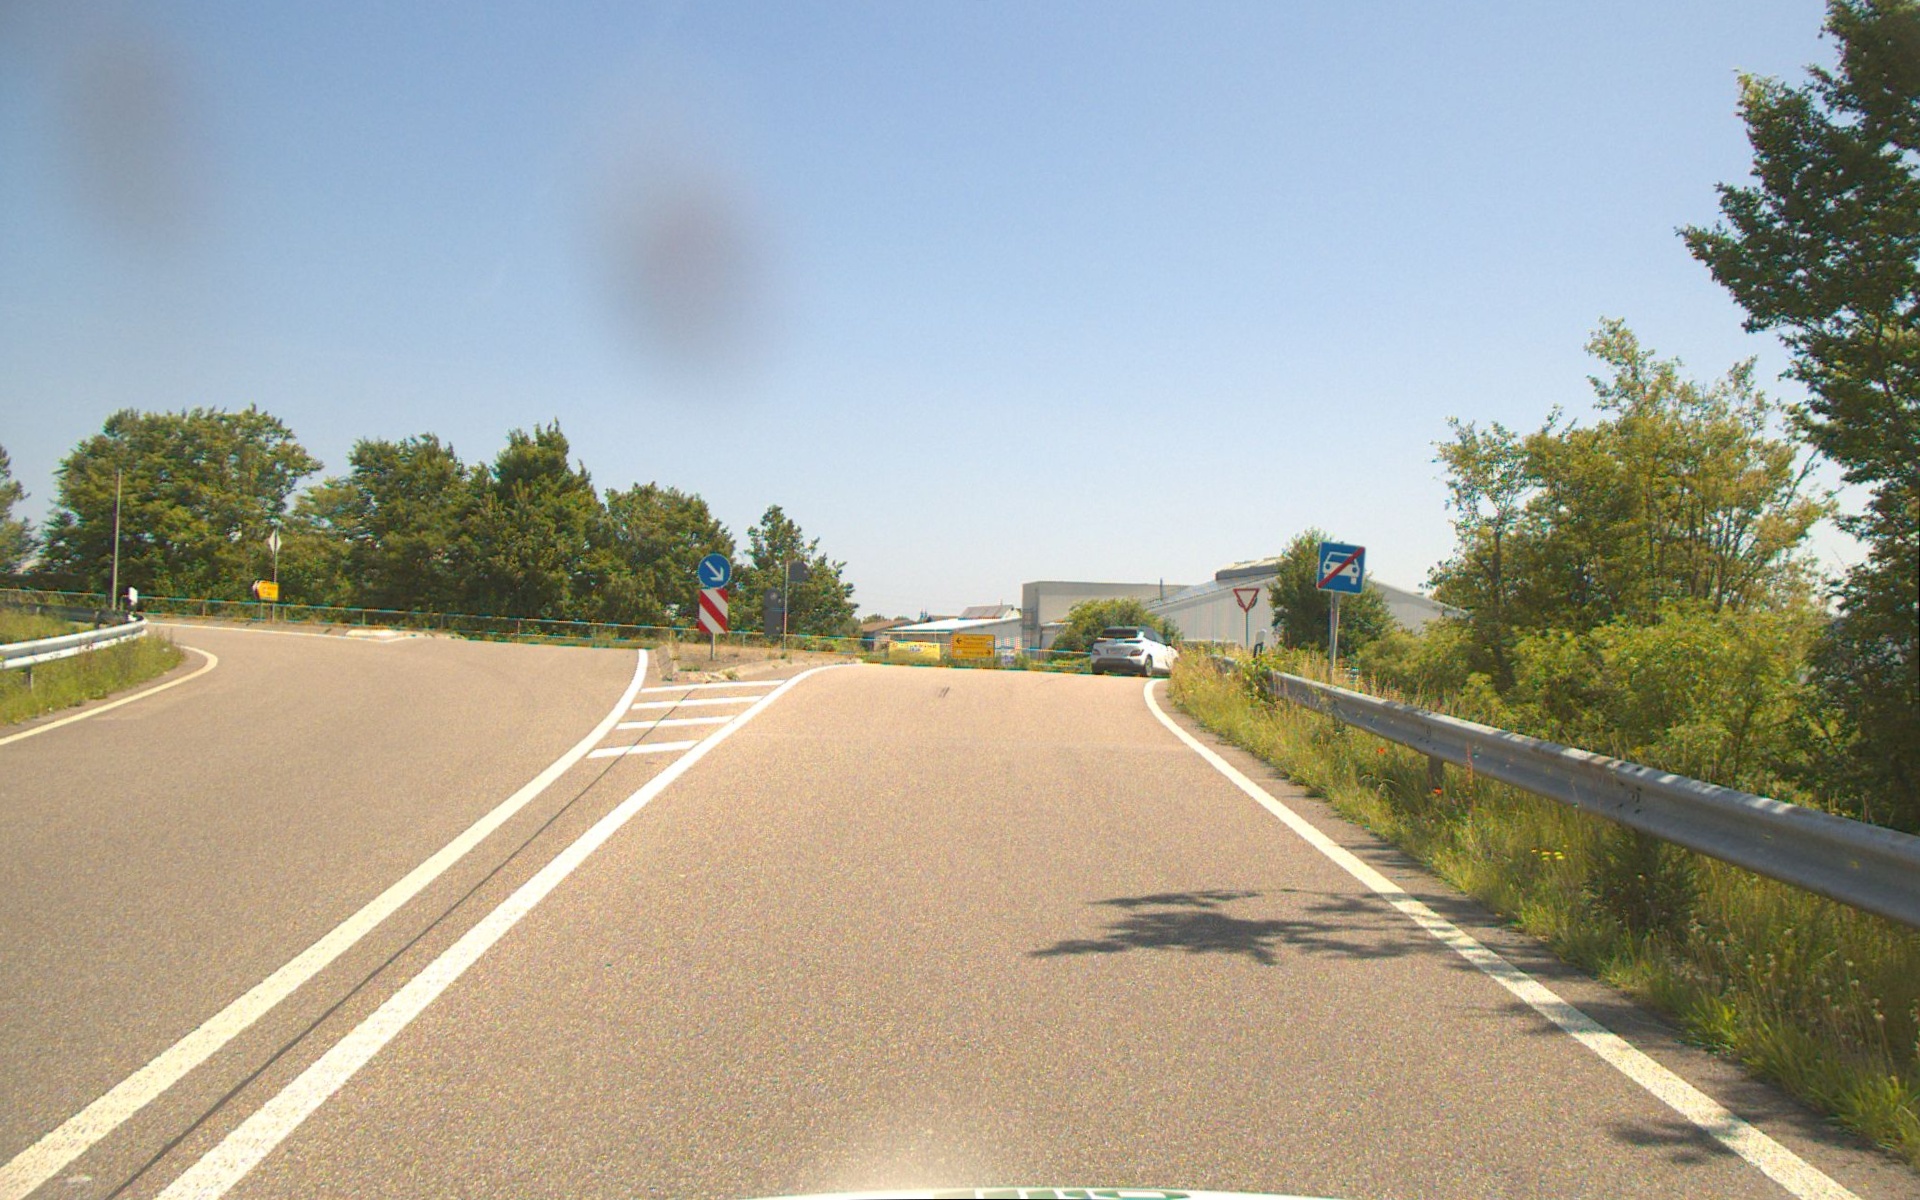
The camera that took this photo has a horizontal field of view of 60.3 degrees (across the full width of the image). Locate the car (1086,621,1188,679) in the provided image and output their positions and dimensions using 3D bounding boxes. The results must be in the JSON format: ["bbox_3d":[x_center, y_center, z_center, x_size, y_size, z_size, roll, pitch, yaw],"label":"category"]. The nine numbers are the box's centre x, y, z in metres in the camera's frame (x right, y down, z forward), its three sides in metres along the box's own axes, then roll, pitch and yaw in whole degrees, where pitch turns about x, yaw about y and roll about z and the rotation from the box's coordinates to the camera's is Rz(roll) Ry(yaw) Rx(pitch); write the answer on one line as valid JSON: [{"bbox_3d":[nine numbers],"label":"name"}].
[{"bbox_3d":[5.541,1.567,51.362,1.774,1.721,3.993,-1,-2,29],"label":"car"}]
